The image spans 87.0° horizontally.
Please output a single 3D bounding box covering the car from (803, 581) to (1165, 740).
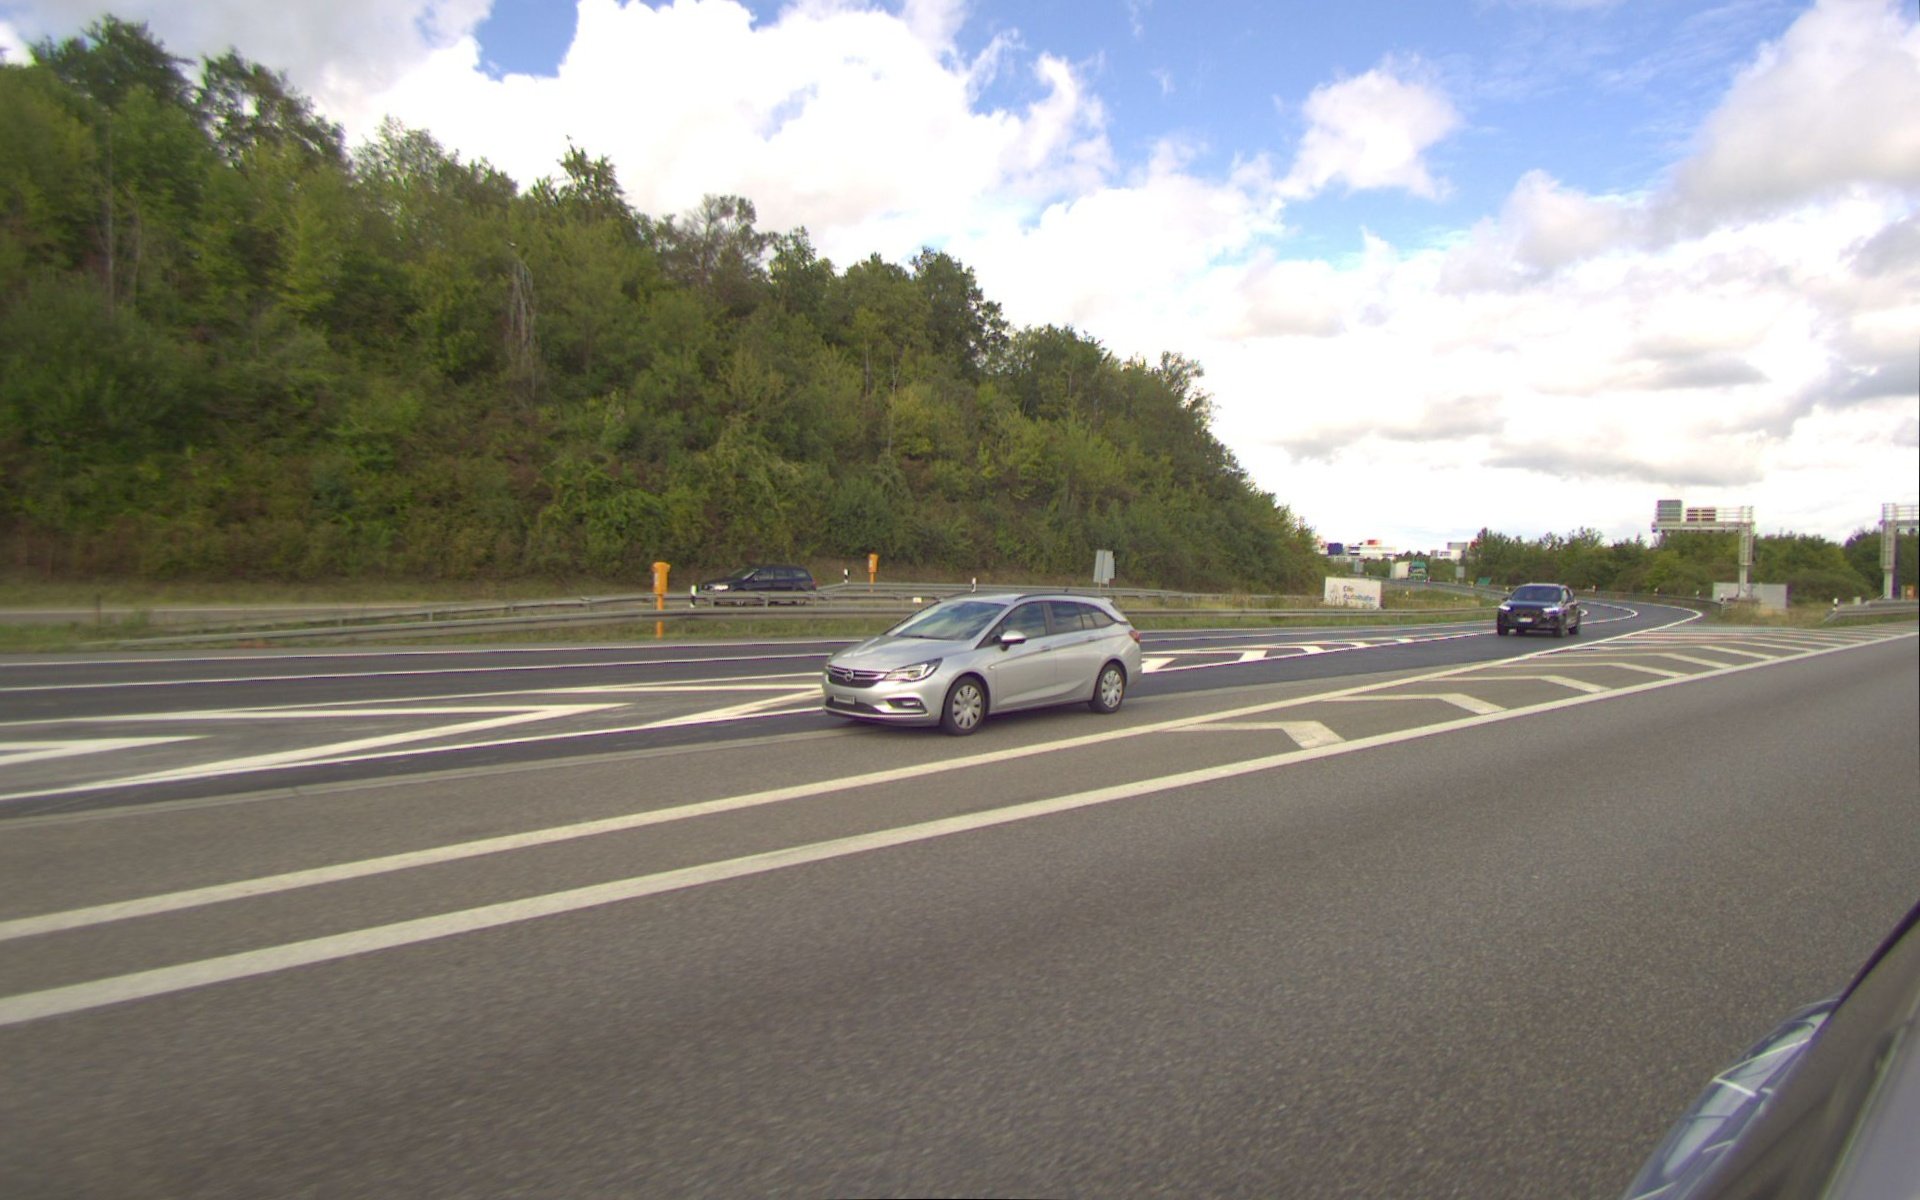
[{"bbox_3d":[0.473,0.536,11.862,1.683,1.503,4.544,1,1,43],"label":"car"}]

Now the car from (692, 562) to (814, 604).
[{"bbox_3d":[-7.499,-0.621,36.874,1.712,1.433,4.102,2,2,44],"label":"car"}]

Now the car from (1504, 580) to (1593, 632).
[{"bbox_3d":[20.053,0.150,34.385,1.869,1.656,4.789,1,1,40],"label":"car"}]

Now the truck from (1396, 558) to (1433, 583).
[{"bbox_3d":[75.200,-4.823,167.843,2.924,3.845,13.412,0,1,12],"label":"truck"}]
